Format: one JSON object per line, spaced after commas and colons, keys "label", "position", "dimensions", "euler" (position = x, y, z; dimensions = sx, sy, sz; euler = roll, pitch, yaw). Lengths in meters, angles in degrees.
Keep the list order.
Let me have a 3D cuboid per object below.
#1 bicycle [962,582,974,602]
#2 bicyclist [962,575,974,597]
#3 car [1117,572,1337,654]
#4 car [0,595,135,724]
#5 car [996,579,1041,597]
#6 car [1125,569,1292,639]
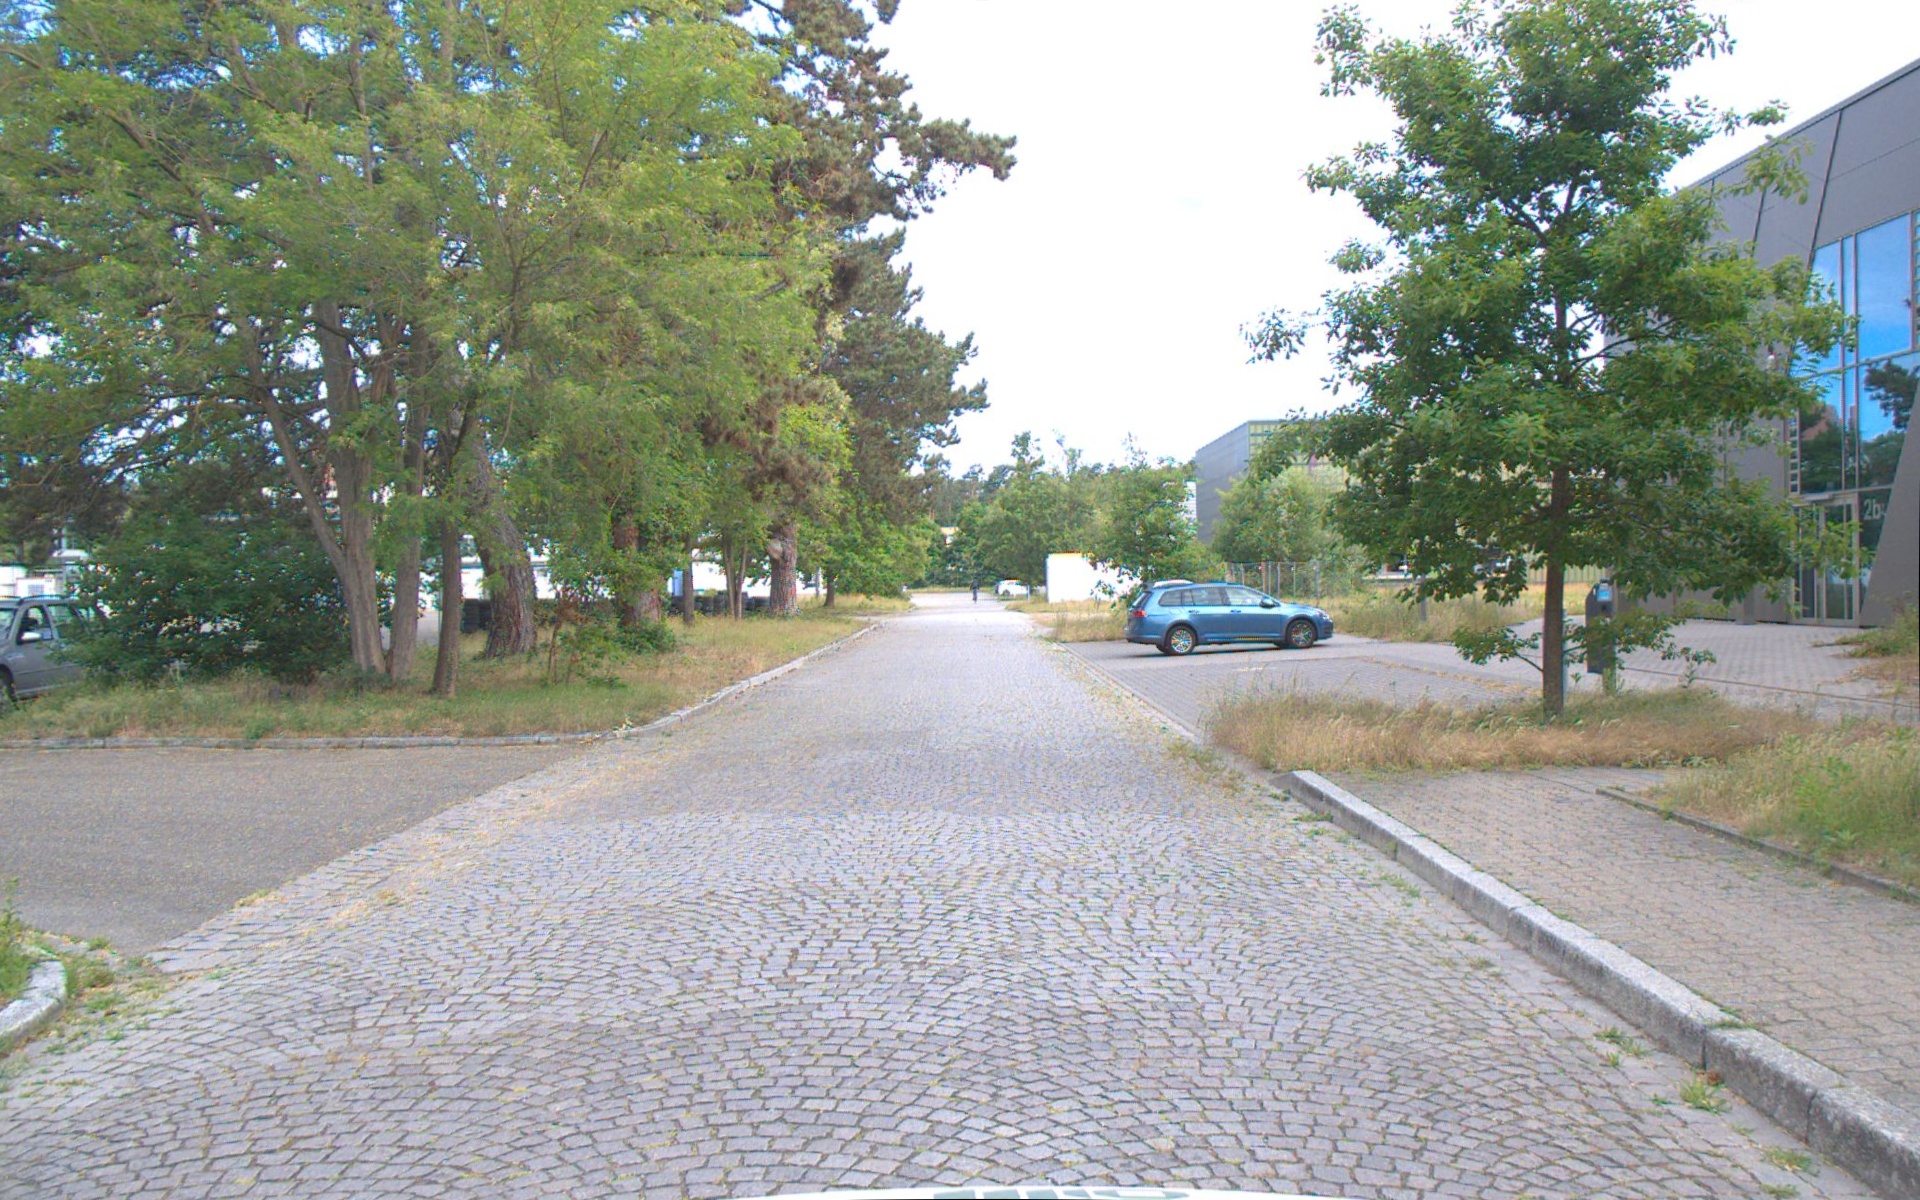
{"label": "bicycle", "position": [0.605, -0.577, 120.823], "dimensions": [0.807, 1.400, 2.042], "euler": [-1, 2, -1]}
{"label": "bicyclist", "position": [0.594, -1.034, 120.848], "dimensions": [0.879, 1.569, 0.868], "euler": [-1, 1, -1]}
{"label": "car", "position": [5.742, 0.262, 35.916], "dimensions": [4.391, 1.488, 1.934], "euler": [-3, 1, -3]}
{"label": "car", "position": [-12.398, 0.731, 21.092], "dimensions": [1.695, 1.457, 4.161], "euler": [-1, 2, -1]}
{"label": "car", "position": [5.478, -1.148, 155.732], "dimensions": [4.232, 1.576, 2.000], "euler": [-1, 1, 1]}
{"label": "car", "position": [6.478, 0.081, 43.371], "dimensions": [4.025, 1.599, 1.764], "euler": [-3, 1, -3]}
